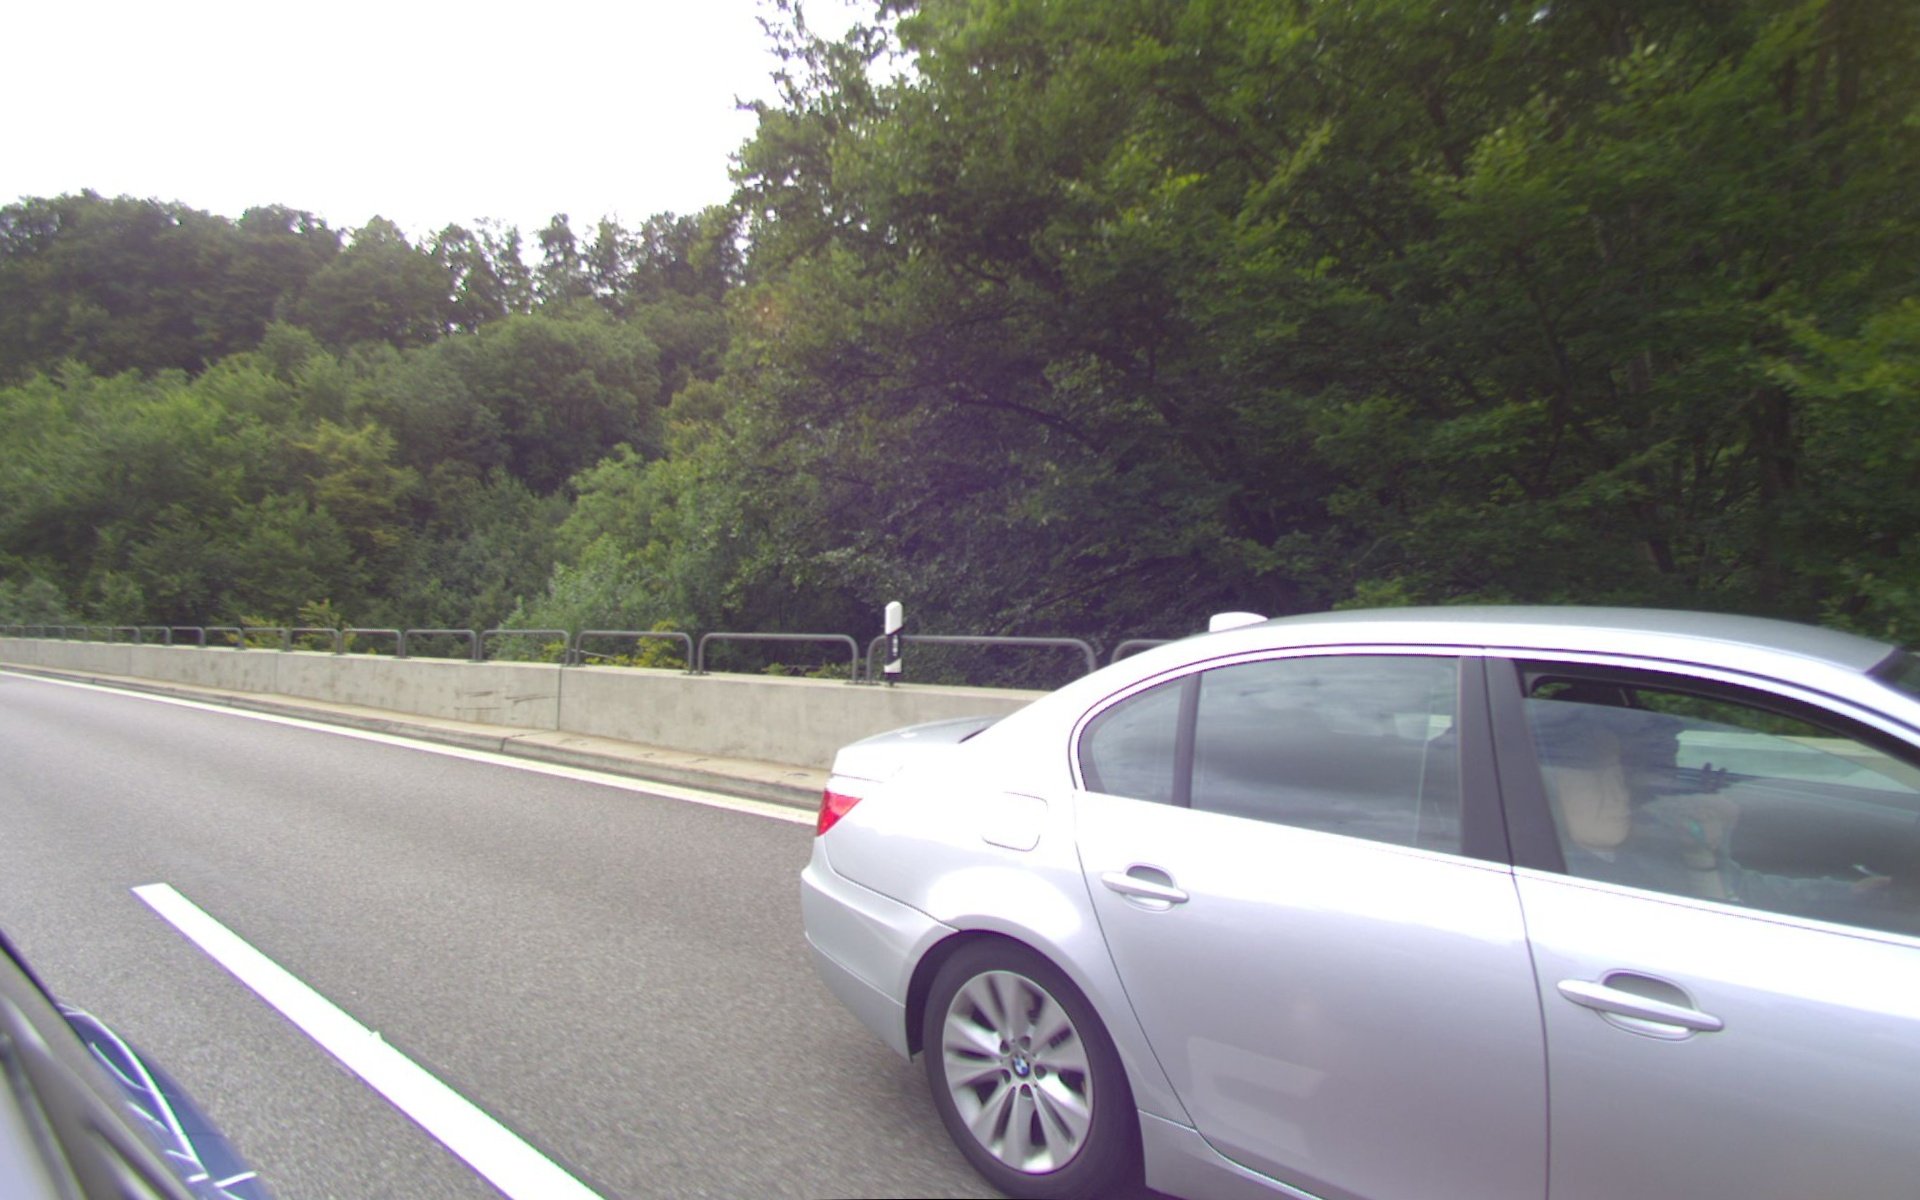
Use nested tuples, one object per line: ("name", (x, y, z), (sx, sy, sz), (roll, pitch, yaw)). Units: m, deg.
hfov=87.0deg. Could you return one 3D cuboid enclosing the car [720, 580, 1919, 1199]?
("car", (1.777, 0.708, 2.135), (5.132, 1.468, 1.809), (-1, -1, 41))
